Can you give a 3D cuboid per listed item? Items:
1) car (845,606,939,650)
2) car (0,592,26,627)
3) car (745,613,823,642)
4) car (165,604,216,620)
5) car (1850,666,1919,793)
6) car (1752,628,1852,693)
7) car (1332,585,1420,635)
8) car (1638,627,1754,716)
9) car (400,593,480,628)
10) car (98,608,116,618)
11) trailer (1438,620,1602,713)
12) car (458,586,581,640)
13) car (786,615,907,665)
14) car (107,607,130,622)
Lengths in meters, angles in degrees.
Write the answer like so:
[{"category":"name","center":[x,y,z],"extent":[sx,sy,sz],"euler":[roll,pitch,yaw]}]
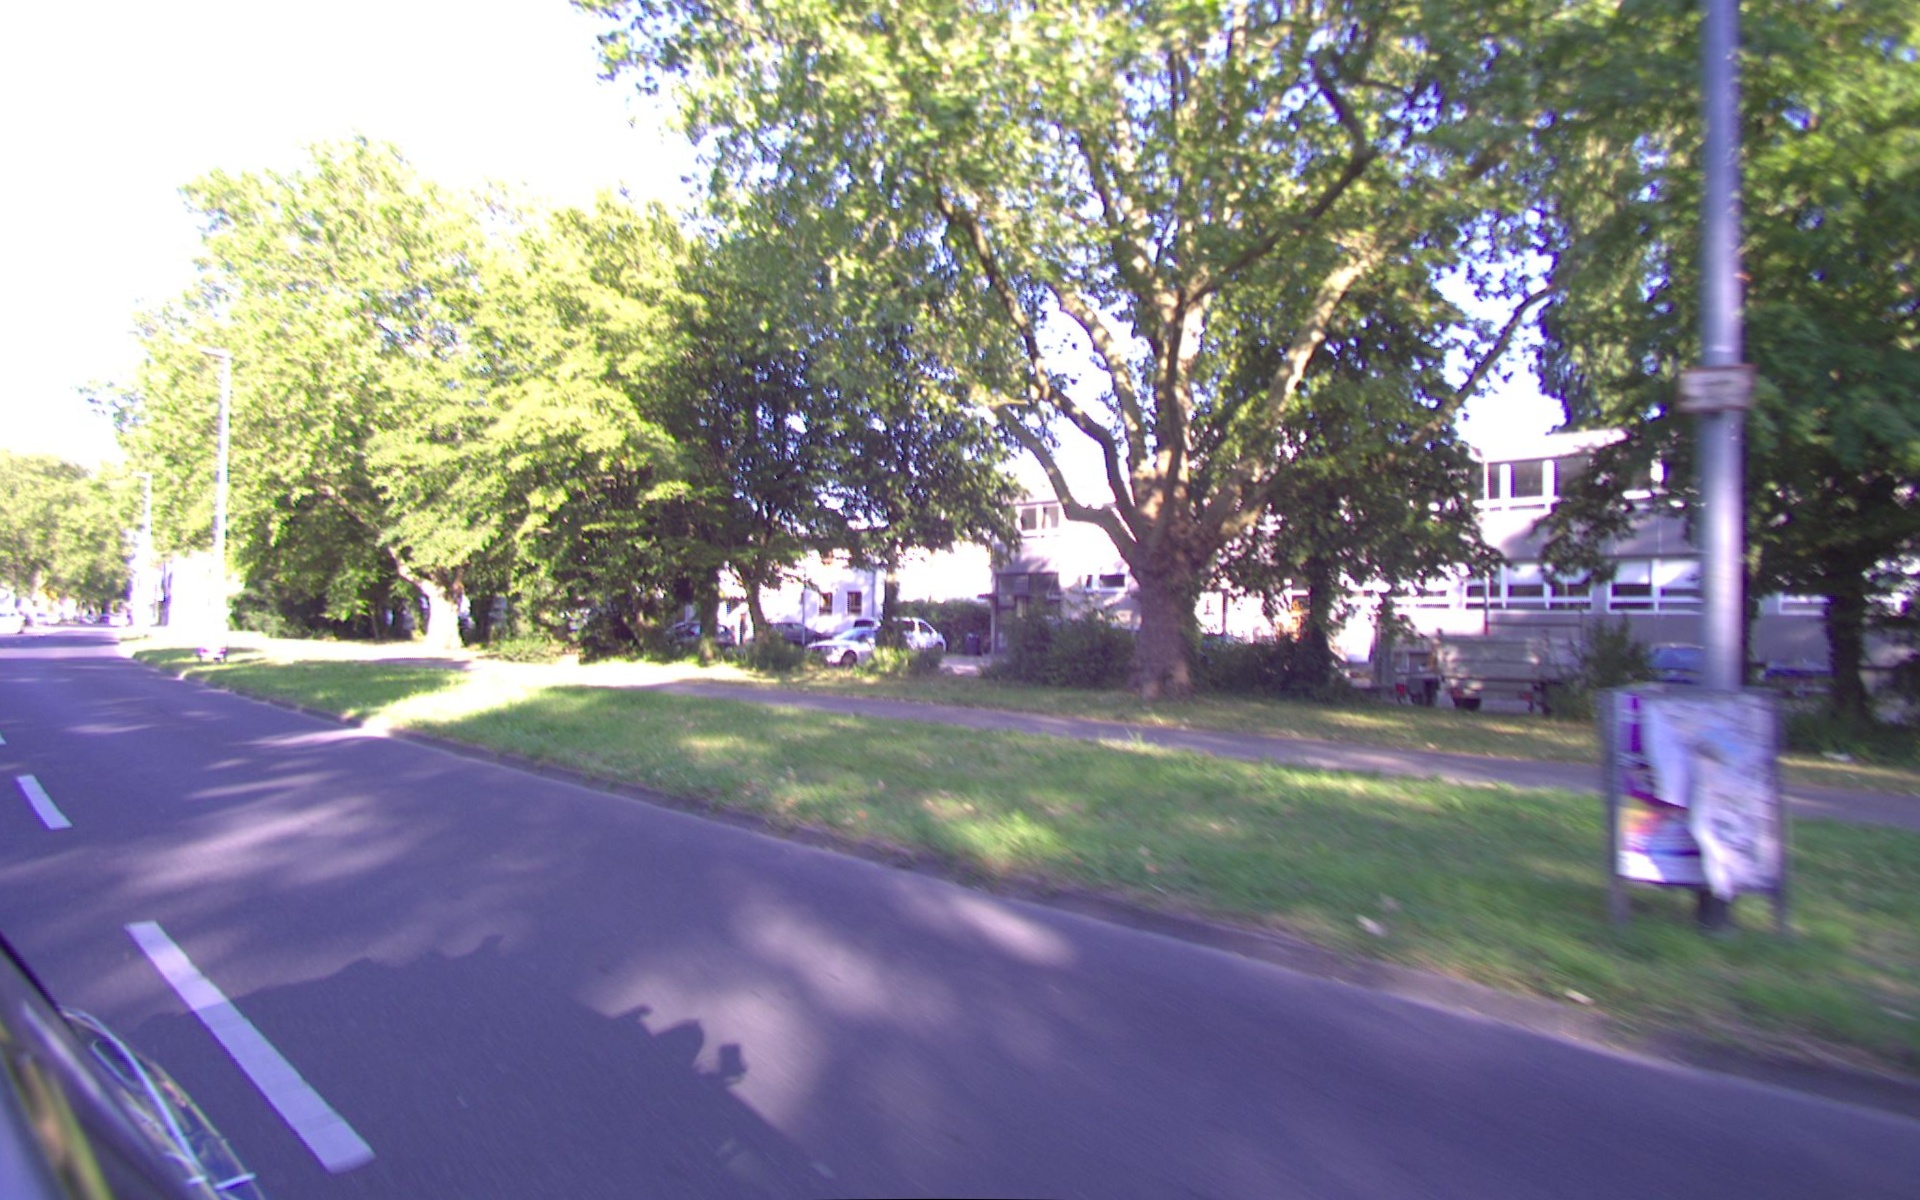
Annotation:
[{"category":"car","center":[-3.307,1.378,49.855],"extent":[1.999,2.029,4.497],"euler":[1,-1,41]},{"category":"car","center":[-58.974,0.557,62.301],"extent":[1.905,2.029,4.007],"euler":[3,-1,-40]},{"category":"car","center":[-9.966,1.562,57.448],"extent":[1.926,1.564,3.941],"euler":[0,-3,45]},{"category":"car","center":[-76.791,1.188,101.082],"extent":[3.933,1.429,1.919],"euler":[-2,0,-34]},{"category":"car","center":[14.473,1.853,14.752],"extent":[1.927,1.613,3.950],"euler":[1,-2,37]},{"category":"car","center":[22.999,1.628,27.765],"extent":[1.927,1.613,3.949],"euler":[0,-2,37]},{"category":"car","center":[14.794,0.365,35.914],"extent":[1.927,1.613,3.949],"euler":[1,-2,37]},{"category":"car","center":[13.026,1.216,17.888],"extent":[1.517,1.374,3.355],"euler":[1,-2,37]},{"category":"car","center":[-31.984,0.677,62.293],"extent":[1.907,2.060,3.944],"euler":[-3,-3,41]},{"category":"car","center":[-146.572,2.181,173.964],"extent":[1.871,1.602,4.080],"euler":[3,-3,-34]},{"category":"trailer","center":[10.845,1.226,19.472],"extent":[1.999,1.567,3.945],"euler":[0,-2,41]},{"category":"car","center":[-22.923,0.716,52.831],"extent":[5.366,2.520,2.188],"euler":[5,-4,-43]},{"category":"car","center":[-3.612,1.316,32.811],"extent":[1.764,1.475,3.693],"euler":[0,-3,39]},{"category":"car","center":[-87.410,1.530,105.170],"extent":[1.738,1.495,4.116],"euler":[0,-1,-38]}]
